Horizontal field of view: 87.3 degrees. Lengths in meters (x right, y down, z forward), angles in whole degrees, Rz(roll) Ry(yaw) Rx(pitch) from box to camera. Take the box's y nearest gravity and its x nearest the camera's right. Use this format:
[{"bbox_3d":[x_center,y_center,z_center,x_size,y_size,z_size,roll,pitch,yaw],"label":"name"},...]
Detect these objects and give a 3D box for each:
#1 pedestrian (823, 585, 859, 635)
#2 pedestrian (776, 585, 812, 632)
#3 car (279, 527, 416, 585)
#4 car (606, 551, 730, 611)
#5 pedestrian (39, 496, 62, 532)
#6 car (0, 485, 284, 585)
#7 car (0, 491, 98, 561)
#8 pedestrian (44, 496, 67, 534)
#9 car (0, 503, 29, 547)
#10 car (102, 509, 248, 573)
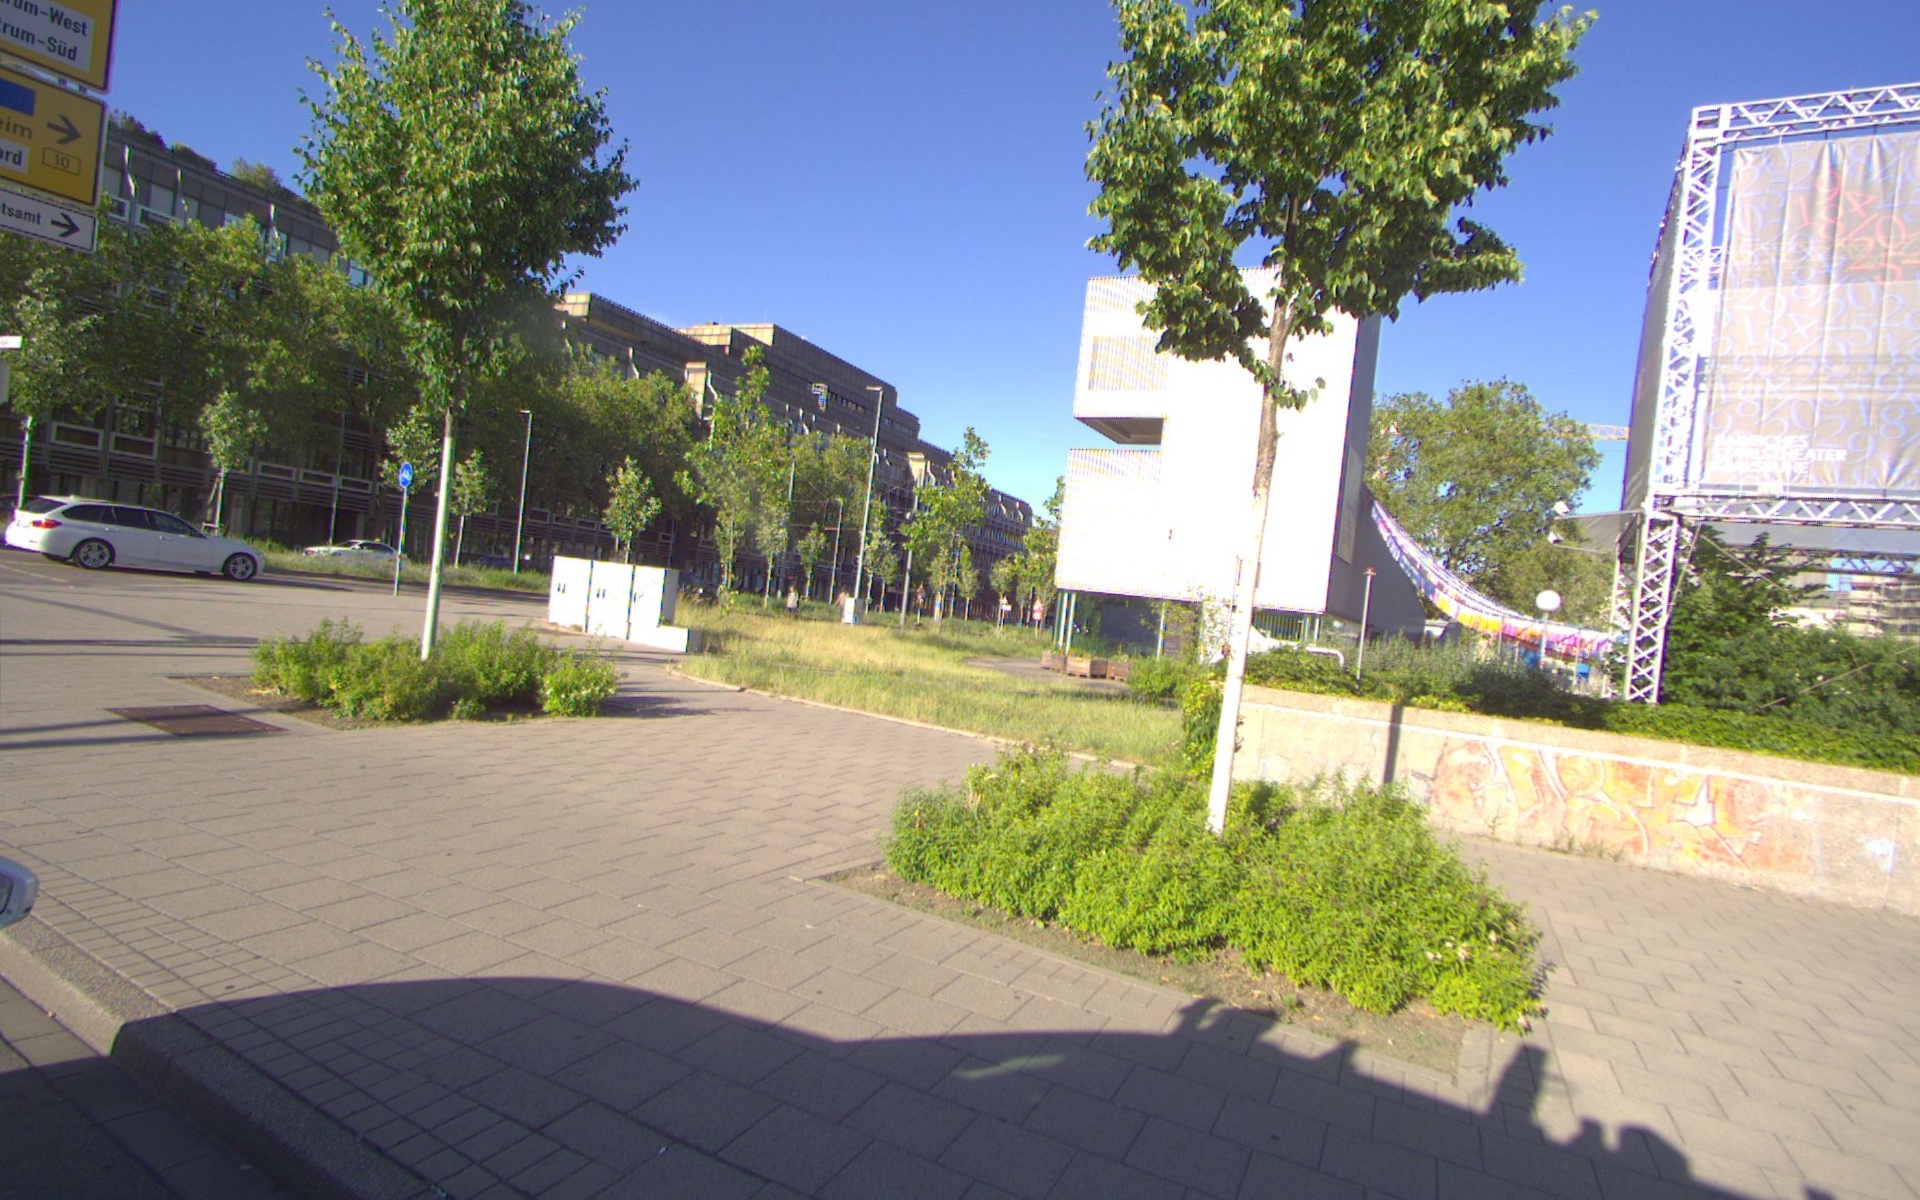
[{"bbox_3d":[-4.451,0.398,37.665,0.925,1.750,0.695,7,1,18],"label":"pedestrian"},{"bbox_3d":[-6.321,0.325,38.437,0.925,1.650,0.803,7,1,18],"label":"pedestrian"},{"bbox_3d":[-30.673,-2.181,50.585,2.062,2.036,5.455,6,-2,29],"label":"car"},{"bbox_3d":[-11.009,-0.685,38.287,1.964,1.779,4.485,6,-1,24],"label":"car"},{"bbox_3d":[-43.028,-4.063,47.616,0.576,1.610,0.541,7,1,29],"label":"pedestrian"},{"bbox_3d":[-18.254,-1.384,22.541,1.965,1.546,4.697,7,-1,28],"label":"car"},{"bbox_3d":[-33.311,-2.710,35.374,1.966,2.037,3.997,6,-2,29],"label":"car"},{"bbox_3d":[-42.498,-4.008,47.250,0.528,1.690,0.541,7,1,29],"label":"pedestrian"},{"bbox_3d":[-37.241,-3.042,36.944,1.836,1.525,3.997,7,-2,29],"label":"car"},{"bbox_3d":[-34.109,-2.528,43.881,1.965,2.036,4.458,7,-2,27],"label":"car"}]
